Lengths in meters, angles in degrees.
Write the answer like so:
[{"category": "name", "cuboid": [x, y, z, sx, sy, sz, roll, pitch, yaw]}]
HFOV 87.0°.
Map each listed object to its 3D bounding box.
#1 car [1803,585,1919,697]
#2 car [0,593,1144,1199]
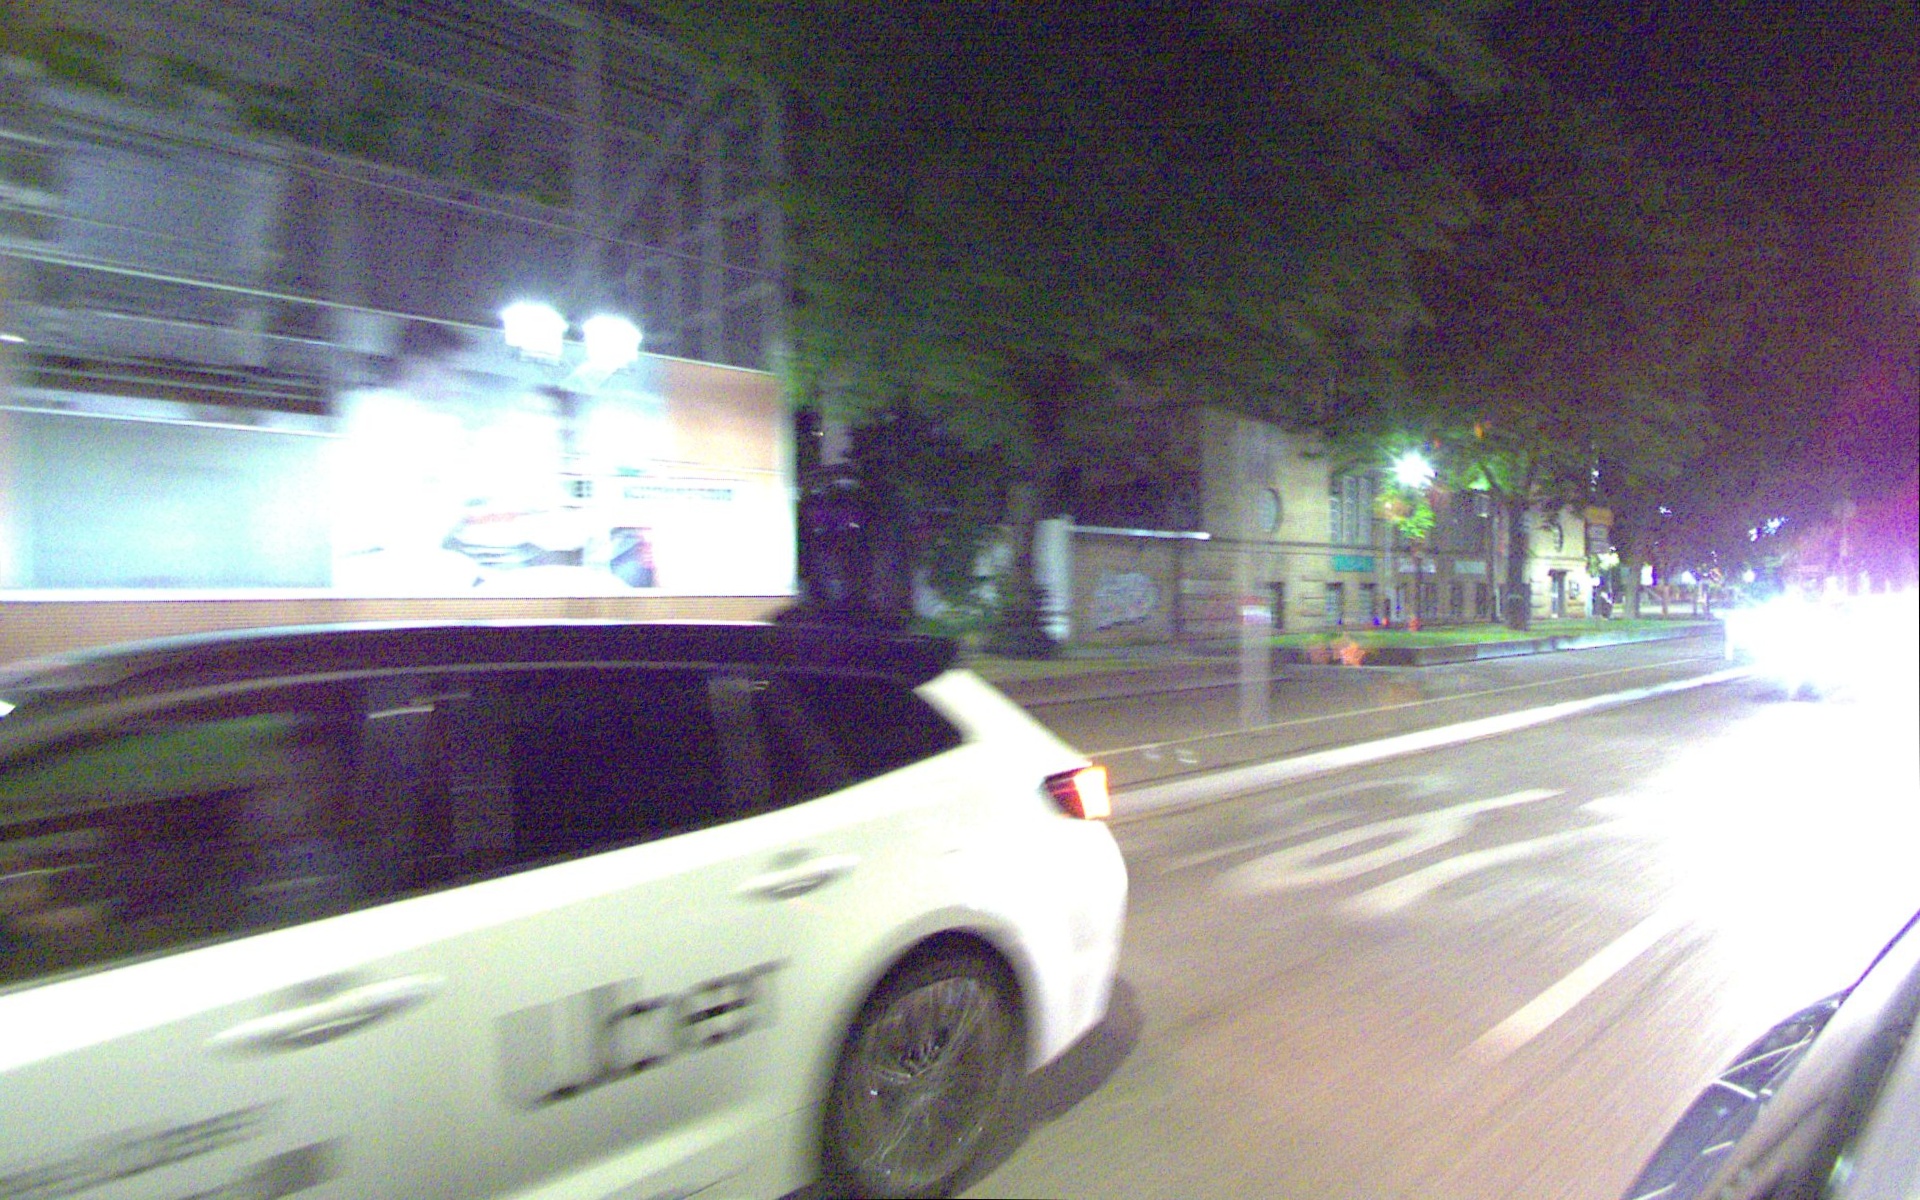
[{"category": "car", "cuboid": [13.718, 0.522, 14.738, 3.774, 1.456, 1.632, -1, -1, -41]}, {"category": "car", "cuboid": [-1.712, 0.735, 2.125, 4.419, 1.448, 1.727, -1, 0, -40]}]
